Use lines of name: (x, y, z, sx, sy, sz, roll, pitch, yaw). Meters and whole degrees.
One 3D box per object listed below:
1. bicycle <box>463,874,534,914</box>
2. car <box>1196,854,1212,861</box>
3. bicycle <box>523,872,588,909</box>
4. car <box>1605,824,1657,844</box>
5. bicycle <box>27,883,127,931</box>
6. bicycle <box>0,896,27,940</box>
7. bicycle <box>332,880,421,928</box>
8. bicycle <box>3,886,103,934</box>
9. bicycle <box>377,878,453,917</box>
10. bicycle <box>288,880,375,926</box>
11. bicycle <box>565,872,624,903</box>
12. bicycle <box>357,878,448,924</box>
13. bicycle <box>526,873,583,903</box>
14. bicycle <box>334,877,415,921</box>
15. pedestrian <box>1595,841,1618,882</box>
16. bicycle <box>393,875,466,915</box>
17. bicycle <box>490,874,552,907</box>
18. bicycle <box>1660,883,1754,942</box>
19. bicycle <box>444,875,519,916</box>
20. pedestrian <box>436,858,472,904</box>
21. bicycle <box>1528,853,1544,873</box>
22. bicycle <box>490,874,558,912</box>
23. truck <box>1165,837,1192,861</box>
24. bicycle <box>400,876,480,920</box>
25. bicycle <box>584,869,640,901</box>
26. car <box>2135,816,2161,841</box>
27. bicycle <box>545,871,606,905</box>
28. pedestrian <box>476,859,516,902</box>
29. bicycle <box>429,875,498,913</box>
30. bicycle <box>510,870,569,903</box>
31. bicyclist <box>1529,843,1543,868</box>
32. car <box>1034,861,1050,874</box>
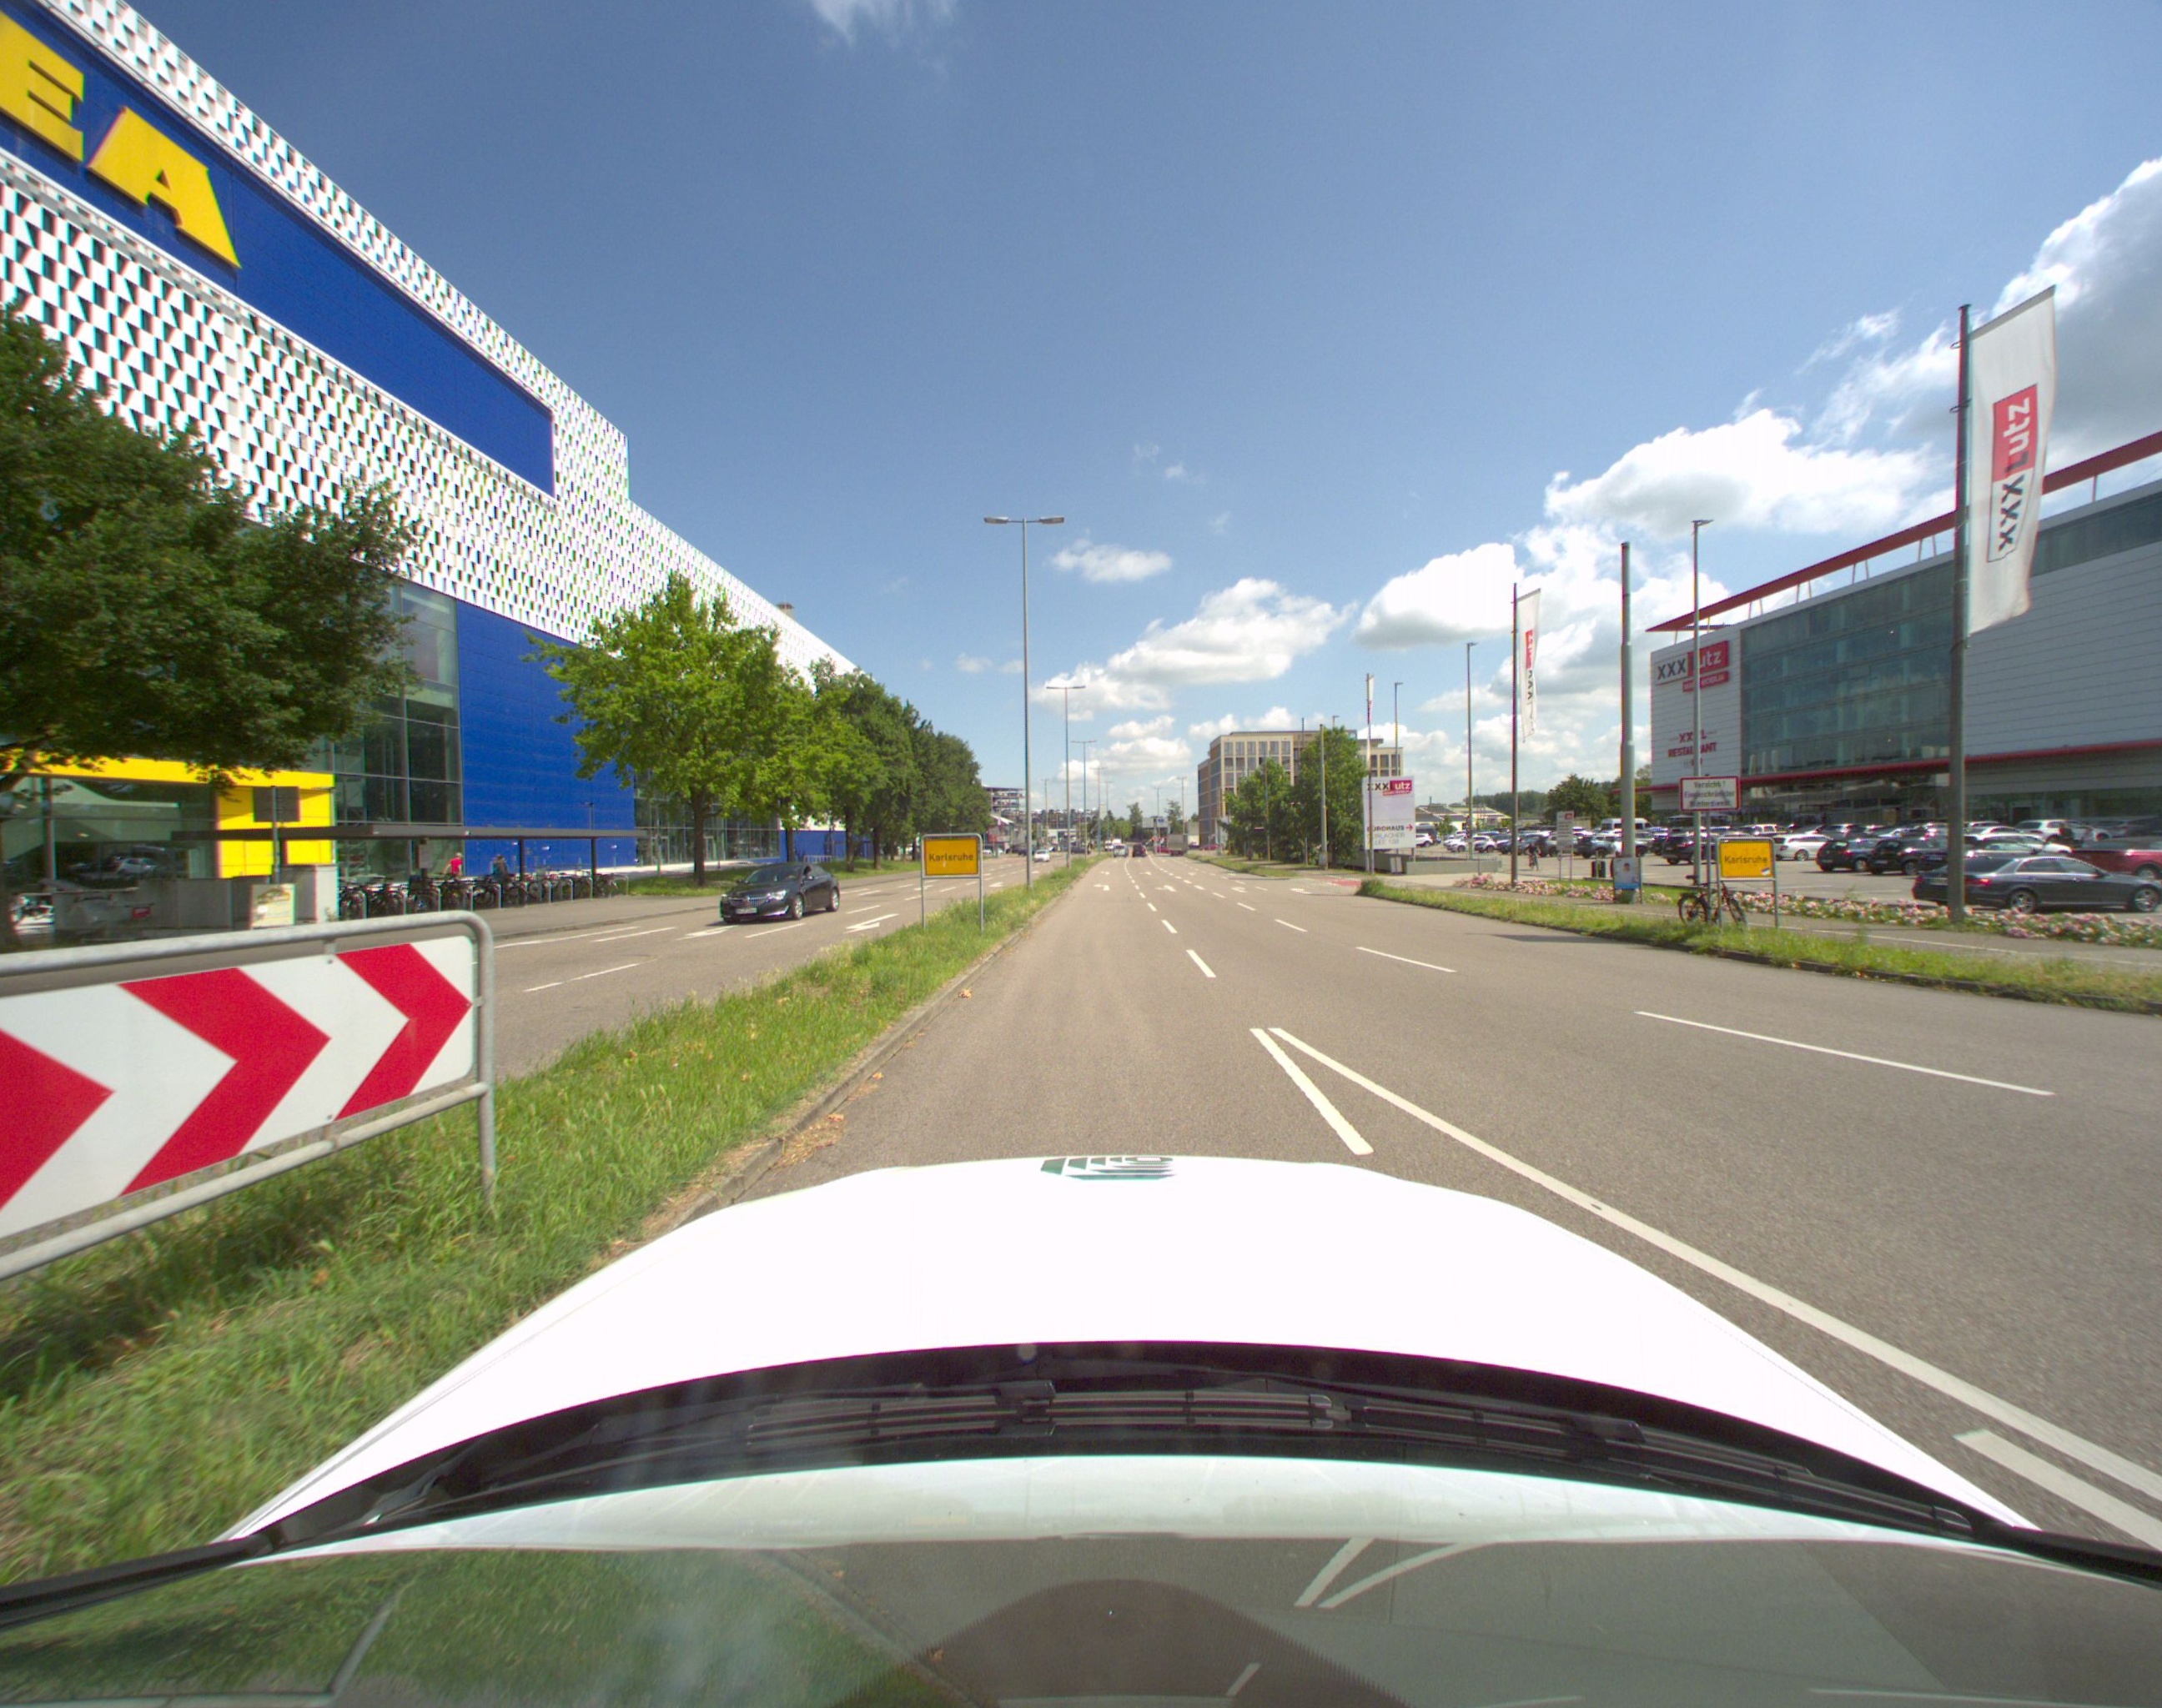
bicycle: (-19.500, 1.339, 27.295, 1.918, 1.272, 0.630, -1, 1, 1)
car: (25.921, 0.738, 171.850, 3.260, 1.405, 1.335, -1, 9, 1)
bicycle: (-19.188, 1.327, 29.753, 1.918, 1.272, 0.630, -1, 1, 1)
car: (56.420, -2.014, 83.635, 3.971, 1.951, 2.001, -1, 1, 2)
bicycle: (-27.666, 1.452, 22.459, 1.940, 1.243, 0.597, -1, -1, -3)
bicycle: (-27.674, 1.603, 20.332, 1.929, 1.070, 0.528, -1, -1, -3)
bicycle: (-19.568, 1.384, 22.624, 1.918, 1.272, 0.630, -1, 1, 1)
bicycle: (-27.667, 1.502, 21.931, 1.929, 1.209, 0.528, -1, -1, -3)
bicycle: (-21.367, 1.388, 26.143, 1.918, 1.183, 0.630, -1, 1, 1)
bicycle: (-21.730, 1.403, 23.629, 1.918, 1.272, 0.630, -1, 1, 1)
bicycle: (-19.214, 1.326, 32.174, 1.918, 1.183, 0.630, -1, 1, 1)
bicycle: (-19.640, 1.356, 23.589, 2.081, 1.272, 0.630, -1, 1, 1)
bicycle: (-21.434, 1.370, 33.161, 1.918, 1.184, 0.630, -1, 1, 1)
bicycle: (-21.622, 1.372, 24.950, 1.918, 1.272, 0.630, -1, 1, 1)
pedestrian: (23.507, 0.332, 36.418, 0.861, 1.782, 0.789, 0, 1, 32)
bicycle: (-21.651, 1.352, 27.088, 1.918, 1.272, 0.630, -1, 1, 1)
bicycle: (-21.310, 1.384, 30.984, 1.918, 1.179, 0.630, -1, 1, 1)
bicycle: (11.035, 1.006, 14.420, 0.515, 0.952, 1.544, -1, -1, 2)
bicycle: (-19.275, 1.331, 26.207, 1.918, 1.272, 0.630, -1, 1, 1)
pedestrian: (-25.332, 1.090, 32.934, 0.750, 1.822, 0.887, 0, 0, 2)
bicycle: (25.490, 0.502, 45.633, 0.617, 1.068, 1.979, -2, 0, 26)
bicycle: (-19.397, 1.344, 28.365, 1.918, 1.272, 0.630, -1, 1, 1)
truck: (16.469, -0.943, 137.231, 3.106, 3.940, 8.895, 0, 1, 15)
bicycle: (-19.533, 1.325, 24.833, 1.918, 1.272, 0.630, -1, 1, 1)
bicycle: (-19.168, 1.262, 33.296, 1.918, 1.272, 0.630, -1, 1, 1)
car: (66.457, -1.547, 48.846, 4.150, 1.478, 1.740, -1, 1, 1)
bicycle: (-19.250, 1.290, 31.021, 1.918, 1.272, 0.630, -1, 1, 1)
pedestrian: (-23.613, 1.044, 32.871, 0.946, 1.702, 0.887, 0, 0, 2)
bicycle: (-21.464, 1.371, 28.333, 1.918, 1.272, 0.630, -1, 1, 1)
bicycle: (-21.390, 1.285, 32.174, 1.918, 1.272, 0.630, -1, 1, 1)
bicyclist: (25.486, 0.077, 45.642, 0.609, 1.413, 0.719, -1, 0, 27)
car: (-4.731, 1.613, 99.403, 1.636, 1.429, 3.673, -2, 0, 3)
